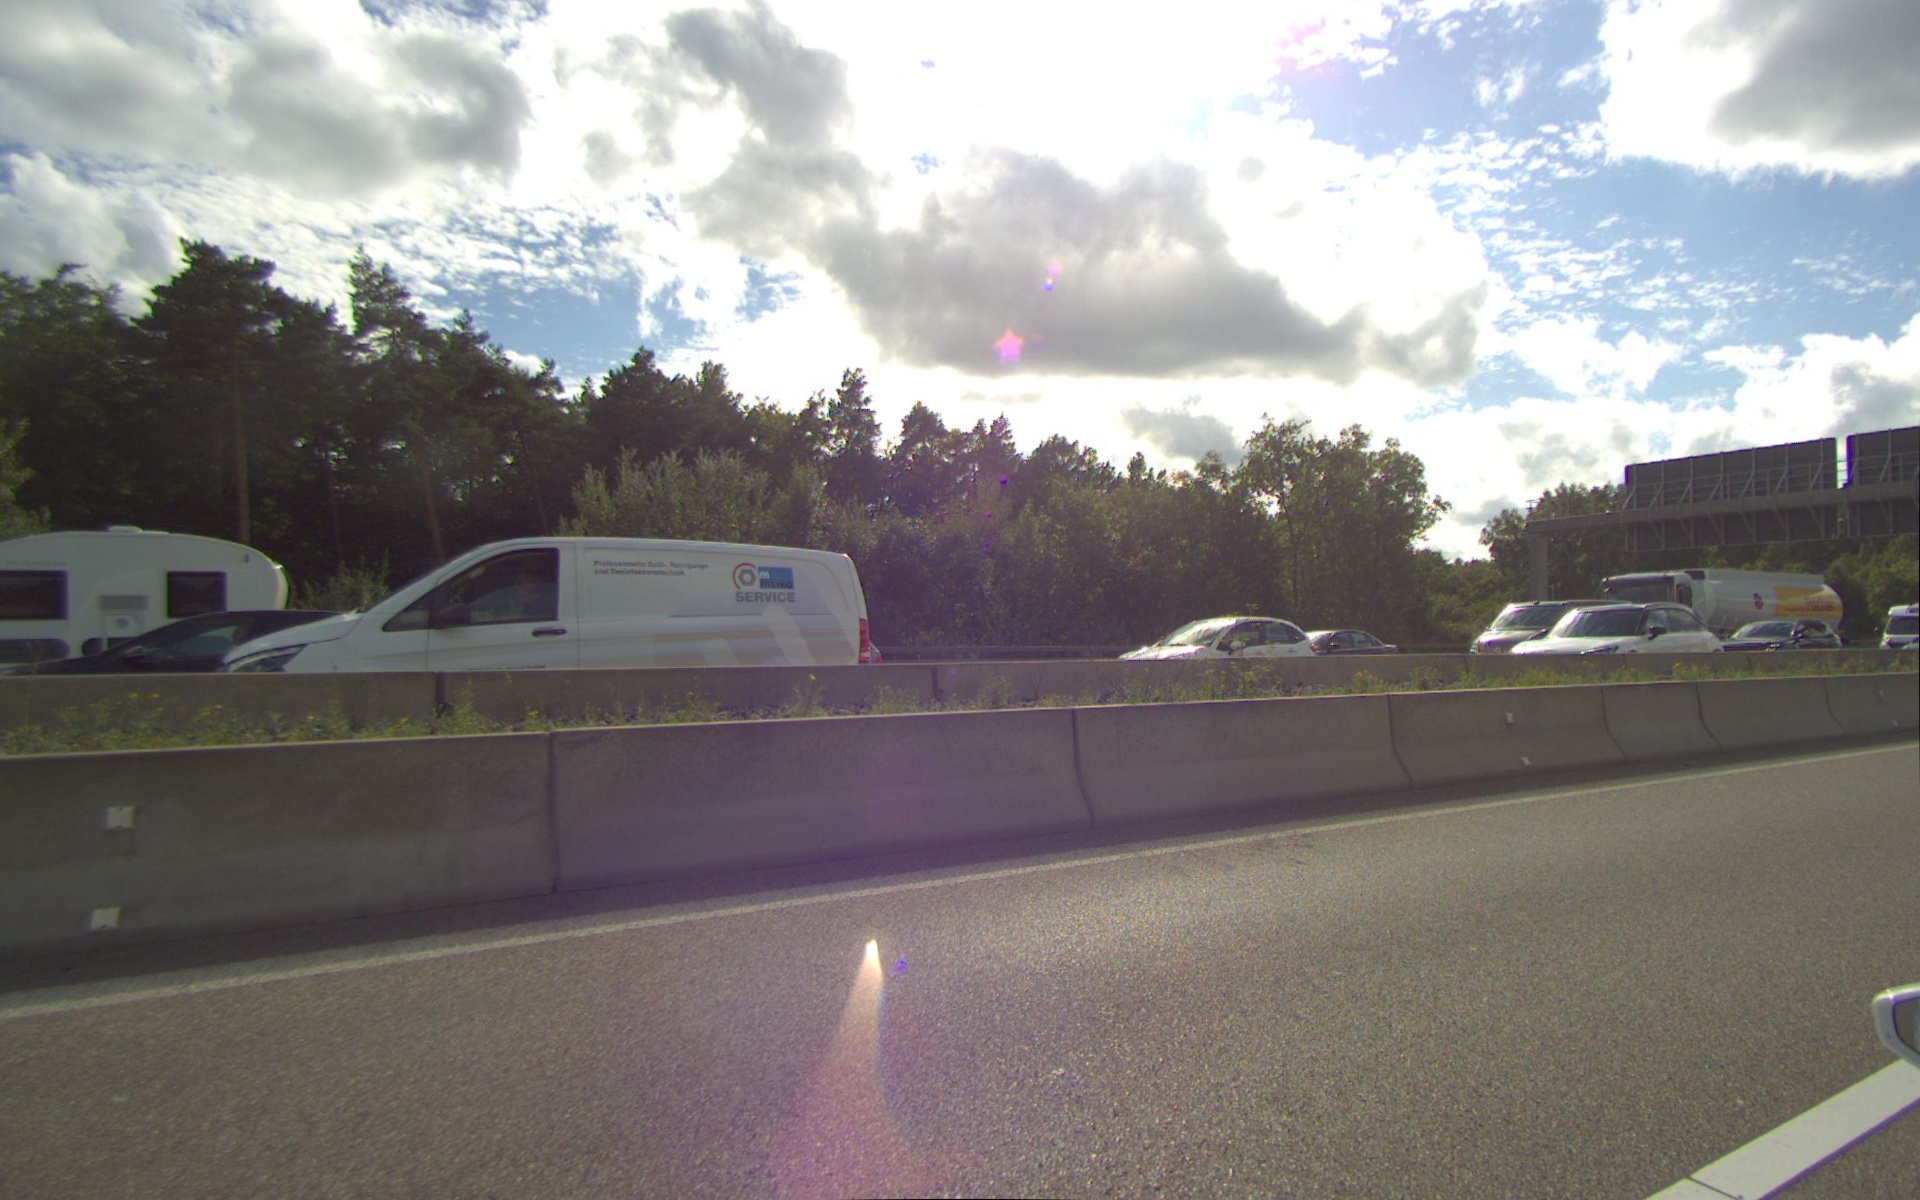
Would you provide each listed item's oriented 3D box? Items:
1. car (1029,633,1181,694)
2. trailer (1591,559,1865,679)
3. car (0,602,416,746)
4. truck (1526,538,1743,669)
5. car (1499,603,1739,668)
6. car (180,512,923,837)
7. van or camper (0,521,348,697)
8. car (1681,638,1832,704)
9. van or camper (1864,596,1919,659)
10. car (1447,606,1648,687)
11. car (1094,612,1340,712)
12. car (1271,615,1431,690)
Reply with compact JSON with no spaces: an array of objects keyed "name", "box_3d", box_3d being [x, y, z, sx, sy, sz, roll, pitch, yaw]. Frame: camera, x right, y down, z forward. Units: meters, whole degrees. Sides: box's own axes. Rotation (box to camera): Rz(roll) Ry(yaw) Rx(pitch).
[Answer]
[{"name":"car","box_3d":[4.449,1.872,30.663,4.430,1.677,1.823,1,0,-31]},{"name":"trailer","box_3d":[28.617,0.711,37.101,13.106,3.879,3.395,1,0,-31]},{"name":"car","box_3d":[-7.760,0.700,10.537,3.549,1.274,1.655,1,0,-31]},{"name":"truck","box_3d":[22.479,0.150,33.433,6.722,3.952,3.400,1,0,-31]},{"name":"car","box_3d":[11.178,0.575,16.962,4.437,0.952,1.635,1,0,-31]},{"name":"car","box_3d":[-3.123,0.550,8.656,5.437,2.089,1.823,1,-2,-31]},{"name":"van or camper","box_3d":[-10.759,0.113,13.157,4.635,2.038,2.271,1,0,-32]},{"name":"car","box_3d":[22.670,1.963,28.559,4.608,1.653,1.791,1,1,-30]},{"name":"van or camper","box_3d":[44.022,1.292,45.568,7.310,2.678,2.314,2,-1,-30]},{"name":"car","box_3d":[13.641,1.022,23.262,4.728,1.677,1.997,1,0,-31]},{"name":"car","box_3d":[4.623,1.043,17.933,4.194,1.558,1.823,1,0,-31]},{"name":"car","box_3d":[9.652,1.246,24.763,3.656,1.677,1.823,1,0,-31]}]
